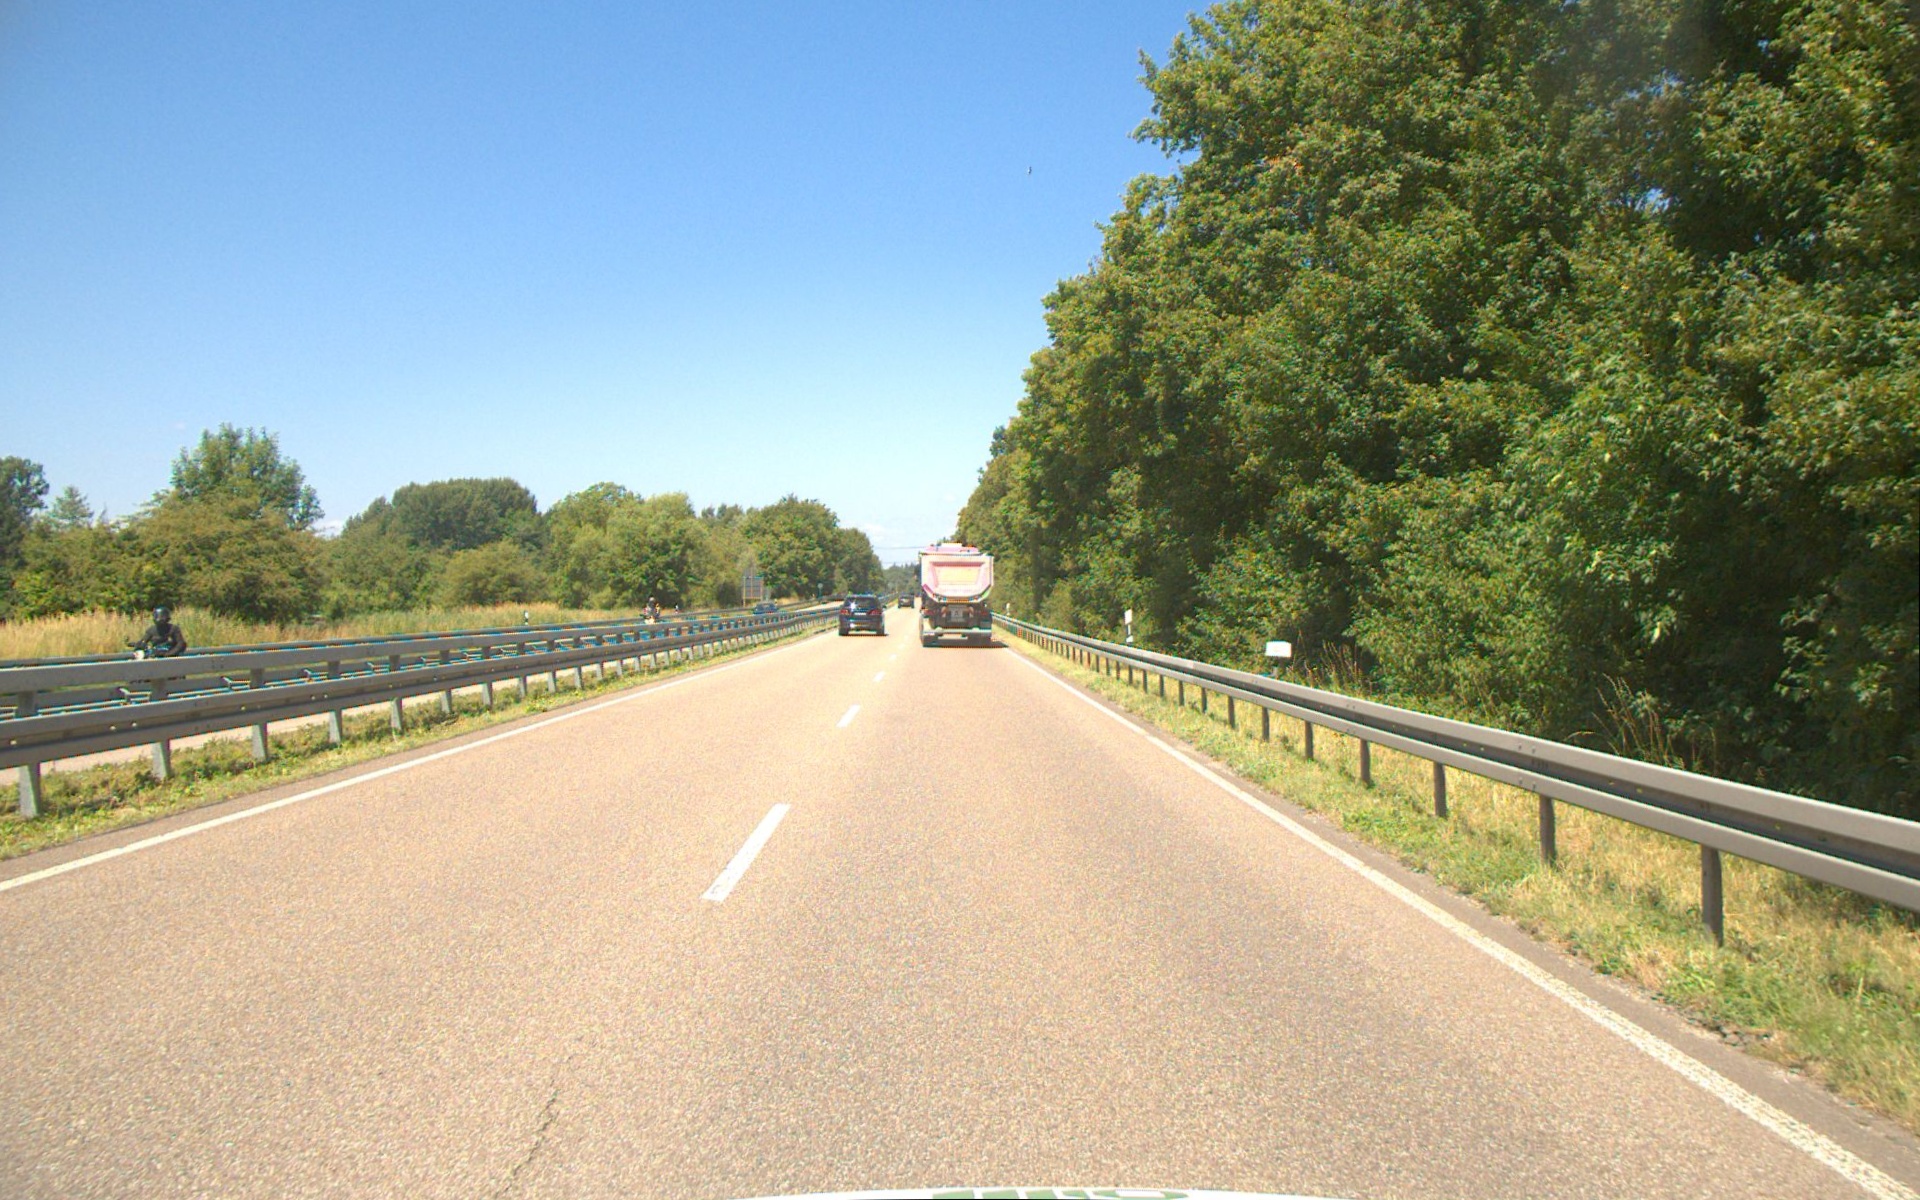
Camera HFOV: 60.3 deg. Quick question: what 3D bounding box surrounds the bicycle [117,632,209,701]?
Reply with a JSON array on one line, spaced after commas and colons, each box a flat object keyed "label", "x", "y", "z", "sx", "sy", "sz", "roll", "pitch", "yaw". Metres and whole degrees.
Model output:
[{"label": "bicycle", "x": -14.428, "y": 1.177, "z": 29.993, "sx": 0.601, "sy": 1.178, "sz": 2.280, "roll": 0, "pitch": 0, "yaw": -1}]

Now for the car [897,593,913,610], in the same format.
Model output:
[{"label": "car", "x": -6.214, "y": 0.190, "z": 186.429, "sx": 1.820, "sy": 1.748, "sz": 3.998, "roll": 0, "pitch": -1, "yaw": -2}]

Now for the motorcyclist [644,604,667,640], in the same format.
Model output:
[{"label": "motorcyclist", "x": -14.175, "y": 1.019, "z": 76.947, "sx": 0.926, "sy": 1.645, "sz": 0.809, "roll": -1, "pitch": 0, "yaw": -2}]

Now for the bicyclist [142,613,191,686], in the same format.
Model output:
[{"label": "bicyclist", "x": -14.433, "y": 0.891, "z": 30.082, "sx": 0.601, "sy": 1.299, "sz": 0.608, "roll": 0, "pitch": -1, "yaw": -1}]

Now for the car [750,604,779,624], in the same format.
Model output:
[{"label": "car", "x": -13.180, "y": 0.940, "z": 111.871, "sx": 1.595, "sy": 1.355, "sz": 3.534, "roll": 0, "pitch": 0, "yaw": -1}]

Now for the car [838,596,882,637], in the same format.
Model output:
[{"label": "car", "x": -4.360, "y": 0.746, "z": 72.695, "sx": 1.820, "sy": 1.701, "sz": 3.998, "roll": 0, "pitch": -1, "yaw": -2}]

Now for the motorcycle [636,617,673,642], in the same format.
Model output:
[{"label": "motorcycle", "x": -14.210, "y": 1.377, "z": 76.987, "sx": 1.042, "sy": 1.083, "sz": 3.817, "roll": -1, "pitch": 0, "yaw": -1}]

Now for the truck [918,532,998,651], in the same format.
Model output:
[{"label": "truck", "x": -0.220, "y": -0.326, "z": 62.193, "sx": 2.665, "sy": 3.999, "sz": 12.366, "roll": 0, "pitch": 0, "yaw": -2}]

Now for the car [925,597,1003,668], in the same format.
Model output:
[{"label": "car", "x": 0.053, "y": 0.827, "z": 41.817, "sx": 1.820, "sy": 1.701, "sz": 3.998, "roll": 0, "pitch": -1, "yaw": -2}]
